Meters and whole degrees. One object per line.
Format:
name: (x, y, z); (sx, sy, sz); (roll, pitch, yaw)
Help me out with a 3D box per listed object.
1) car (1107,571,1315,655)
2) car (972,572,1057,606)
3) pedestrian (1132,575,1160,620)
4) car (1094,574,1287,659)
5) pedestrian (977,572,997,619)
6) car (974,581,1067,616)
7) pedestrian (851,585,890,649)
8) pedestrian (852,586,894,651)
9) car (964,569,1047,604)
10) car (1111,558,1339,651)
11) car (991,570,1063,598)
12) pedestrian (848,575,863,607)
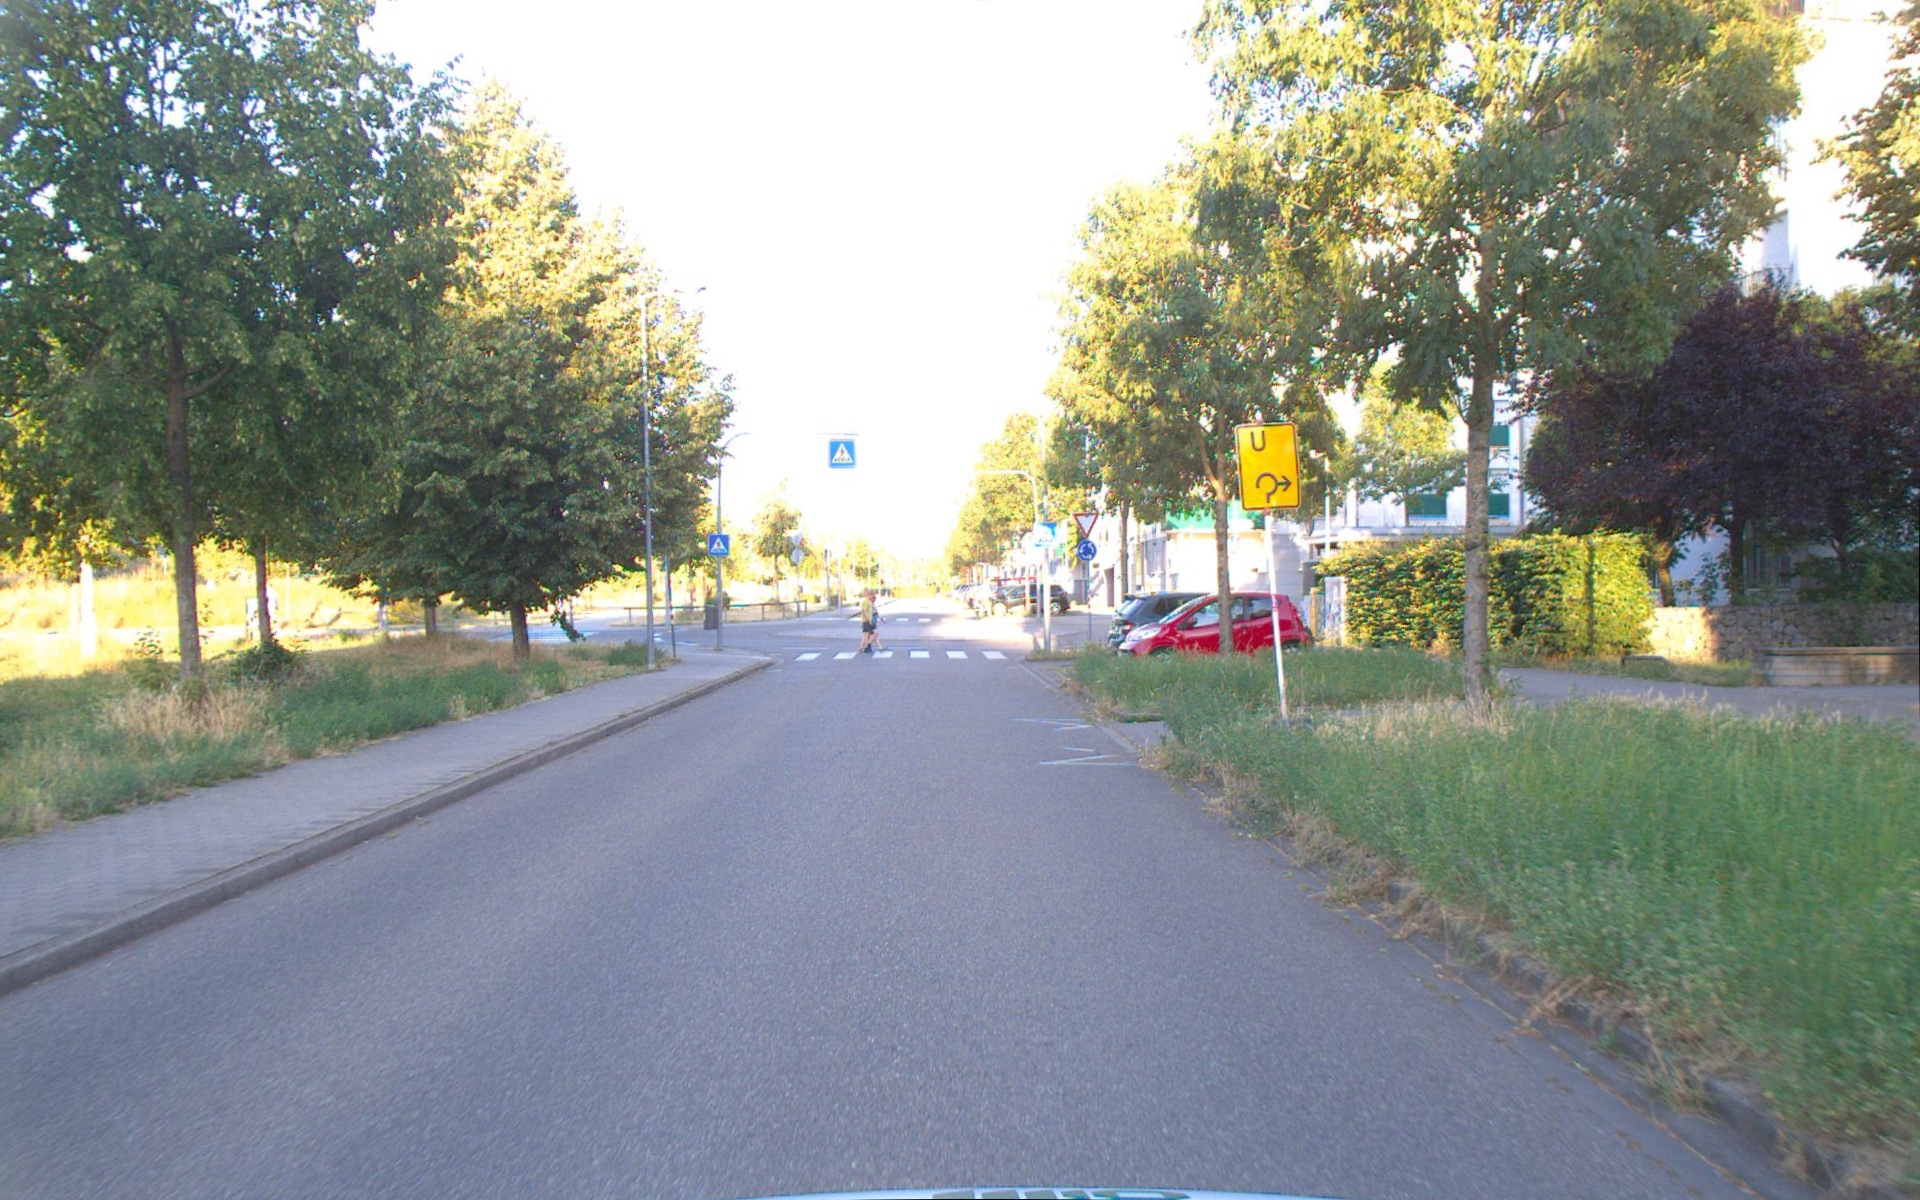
car: (4.828, 0.238, 32.113); (3.727, 1.535, 1.678); (-1, 1, -3)
car: (2.775, -0.569, 84.986); (4.266, 1.624, 2.000); (-1, 1, 0)
pedestrian: (7.710, -0.105, 68.649); (0.984, 1.819, 0.761); (1, 0, -8)
car: (4.821, 0.321, 34.833); (3.729, 1.534, 1.678); (-2, 4, -6)
pedestrian: (1.187, -0.205, 72.704); (0.828, 2.049, 0.944); (-1, 0, 4)
car: (2.906, -0.085, 79.840); (4.393, 1.624, 2.000); (-1, 1, 0)
pedestrian: (-2.450, 0.458, 45.215); (0.966, 1.722, 0.698); (-1, 0, -13)
pedestrian: (-2.347, 0.481, 44.449); (1.001, 1.722, 0.757); (-1, 0, -12)
car: (2.807, -0.821, 103.005); (4.906, 2.081, 2.248); (-1, 1, -6)
car: (4.664, 0.067, 29.380); (3.727, 1.535, 1.678); (-1, 1, -3)
car: (4.022, -0.959, 99.989); (4.178, 1.624, 1.999); (-1, 1, -2)
pedestrian: (-6.733, -0.558, 106.330); (0.851, 2.049, 0.787); (-1, 0, -12)
